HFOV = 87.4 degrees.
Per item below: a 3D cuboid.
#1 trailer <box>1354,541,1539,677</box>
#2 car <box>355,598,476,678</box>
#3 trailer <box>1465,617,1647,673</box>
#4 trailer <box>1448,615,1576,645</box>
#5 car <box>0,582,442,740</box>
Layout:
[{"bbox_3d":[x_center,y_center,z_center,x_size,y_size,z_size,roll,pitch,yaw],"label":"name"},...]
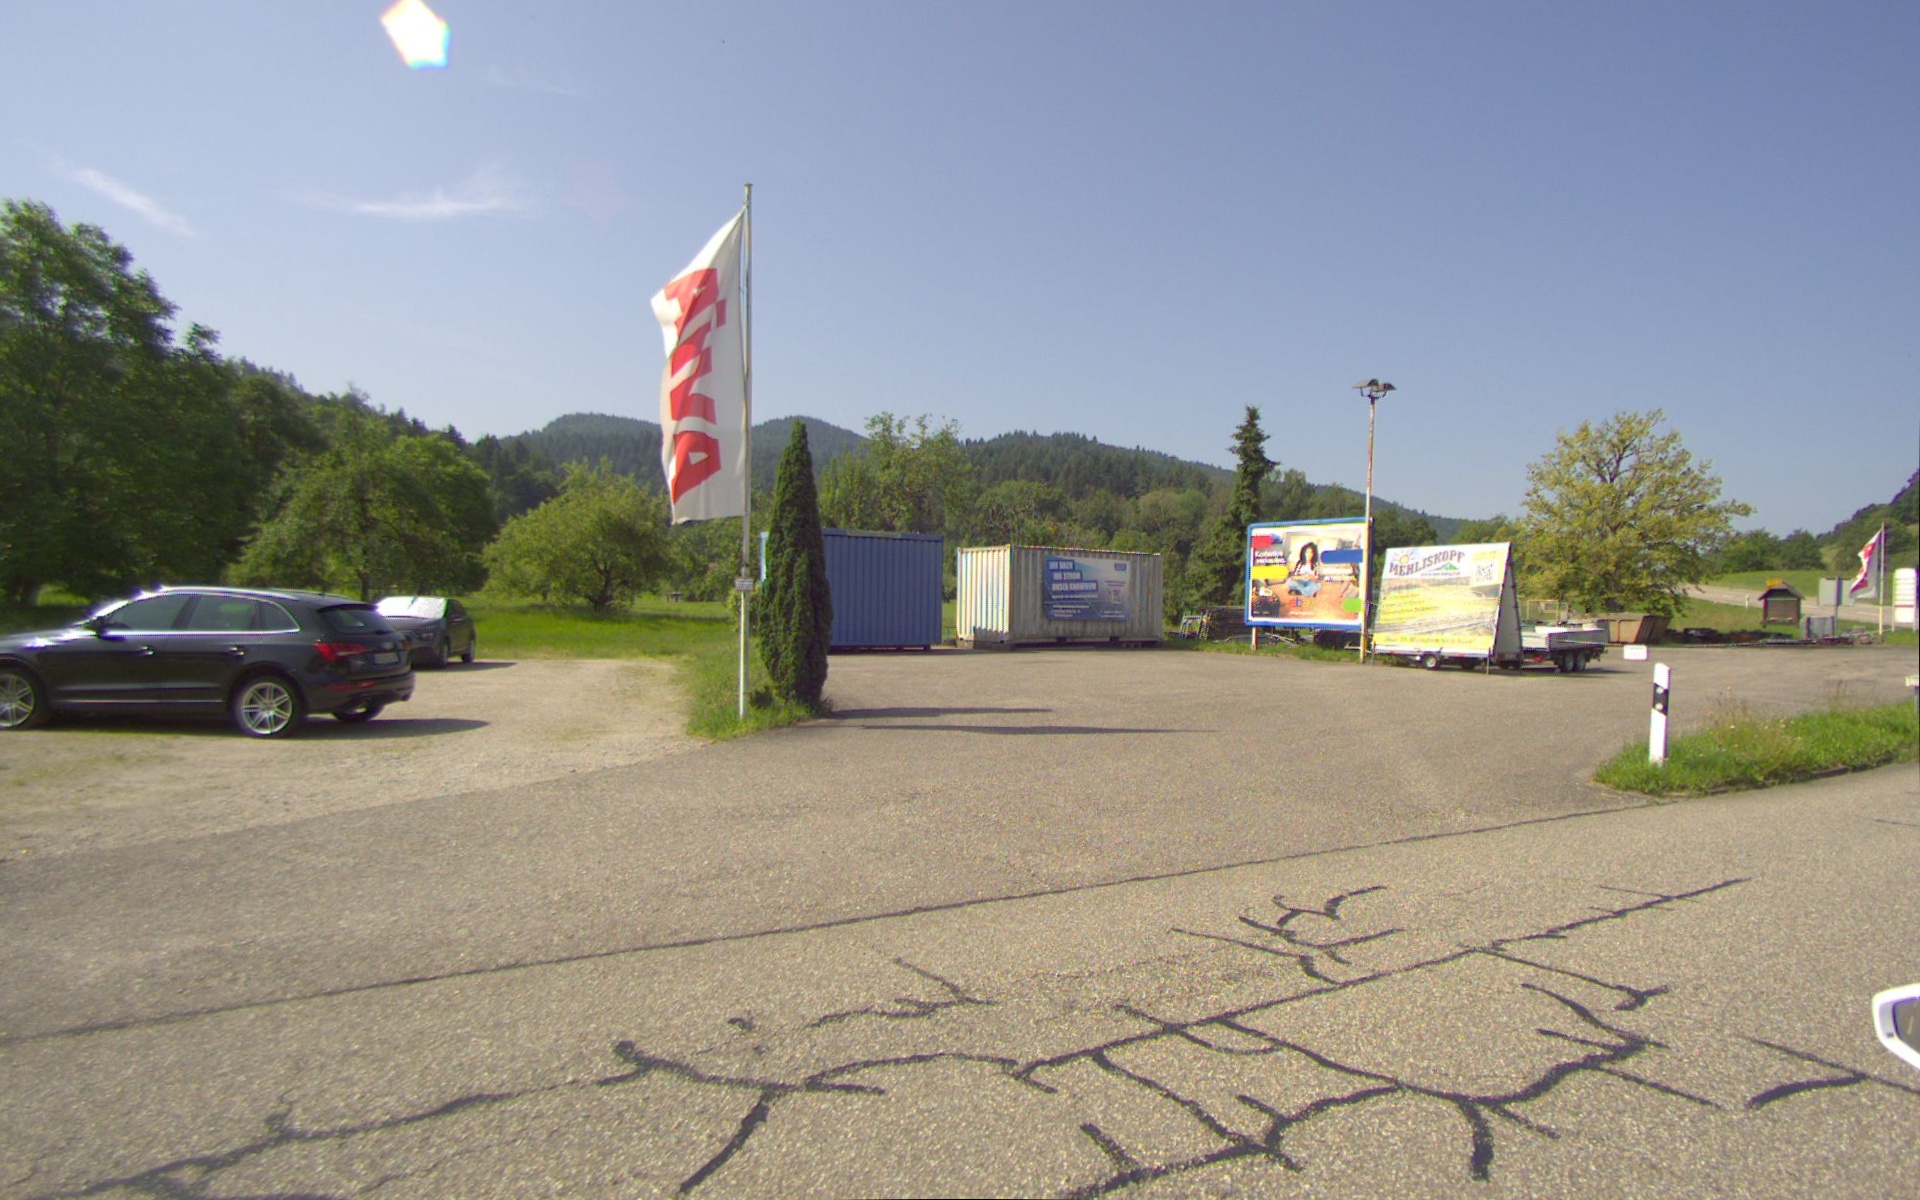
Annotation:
[{"bbox_3d":[11.391,0.167,23.671,1.866,2.951,3.366,1,1,-37],"label":"trailer"},{"bbox_3d":[-11.500,0.745,21.469,1.890,1.505,3.911,1,0,-23],"label":"car"},{"bbox_3d":[15.447,1.125,25.924,5.491,1.243,1.980,1,1,-35],"label":"trailer"},{"bbox_3d":[21.279,1.140,38.842,1.847,0.952,3.910,3,0,-32],"label":"trailer"},{"bbox_3d":[-9.015,0.661,11.841,4.813,1.671,1.835,1,0,-3],"label":"car"}]
